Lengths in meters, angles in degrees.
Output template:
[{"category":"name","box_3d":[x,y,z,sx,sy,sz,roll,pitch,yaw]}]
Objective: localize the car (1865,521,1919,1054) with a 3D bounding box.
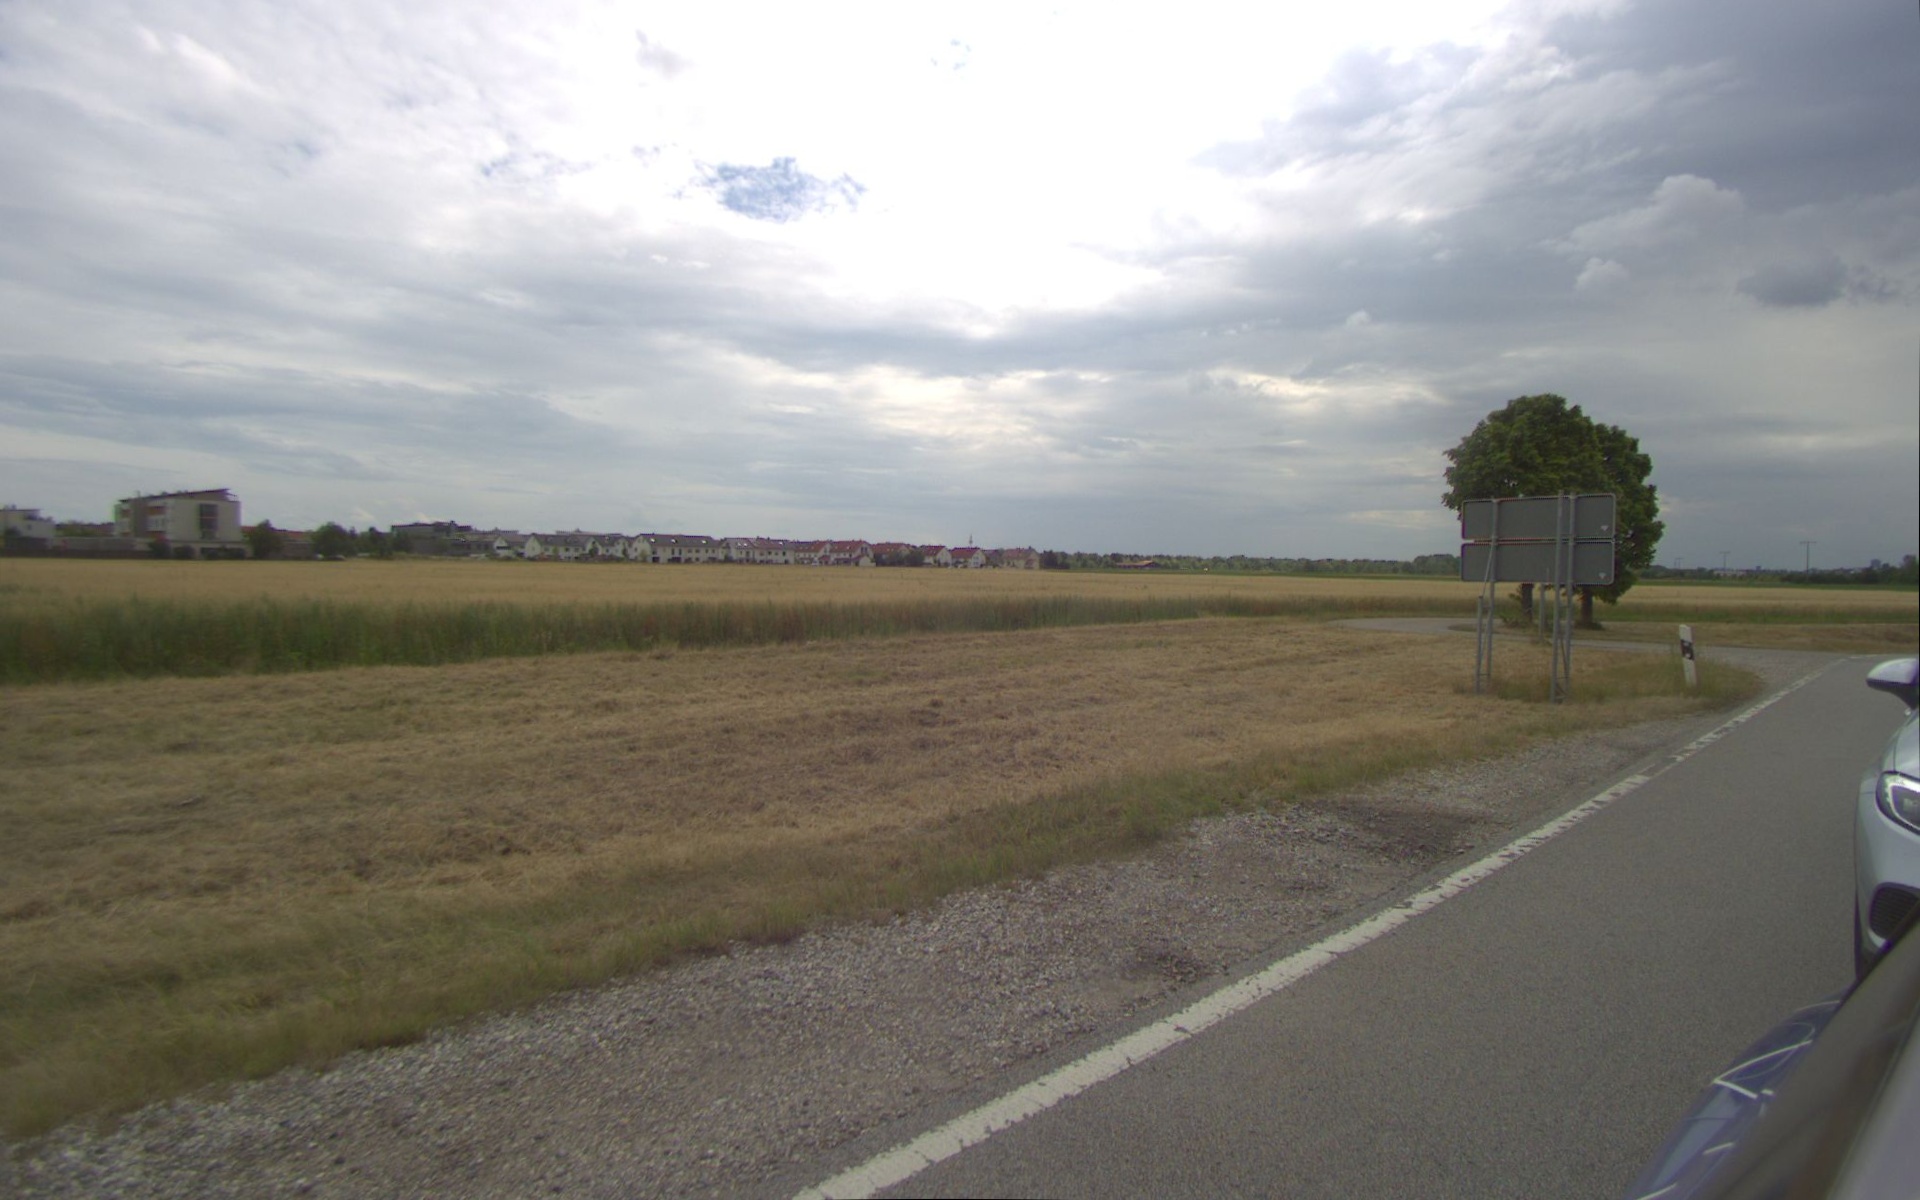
[{"category":"car","box_3d":[5.025,0.576,3.960,4.376,1.606,1.834,-1,3,-44]}]
